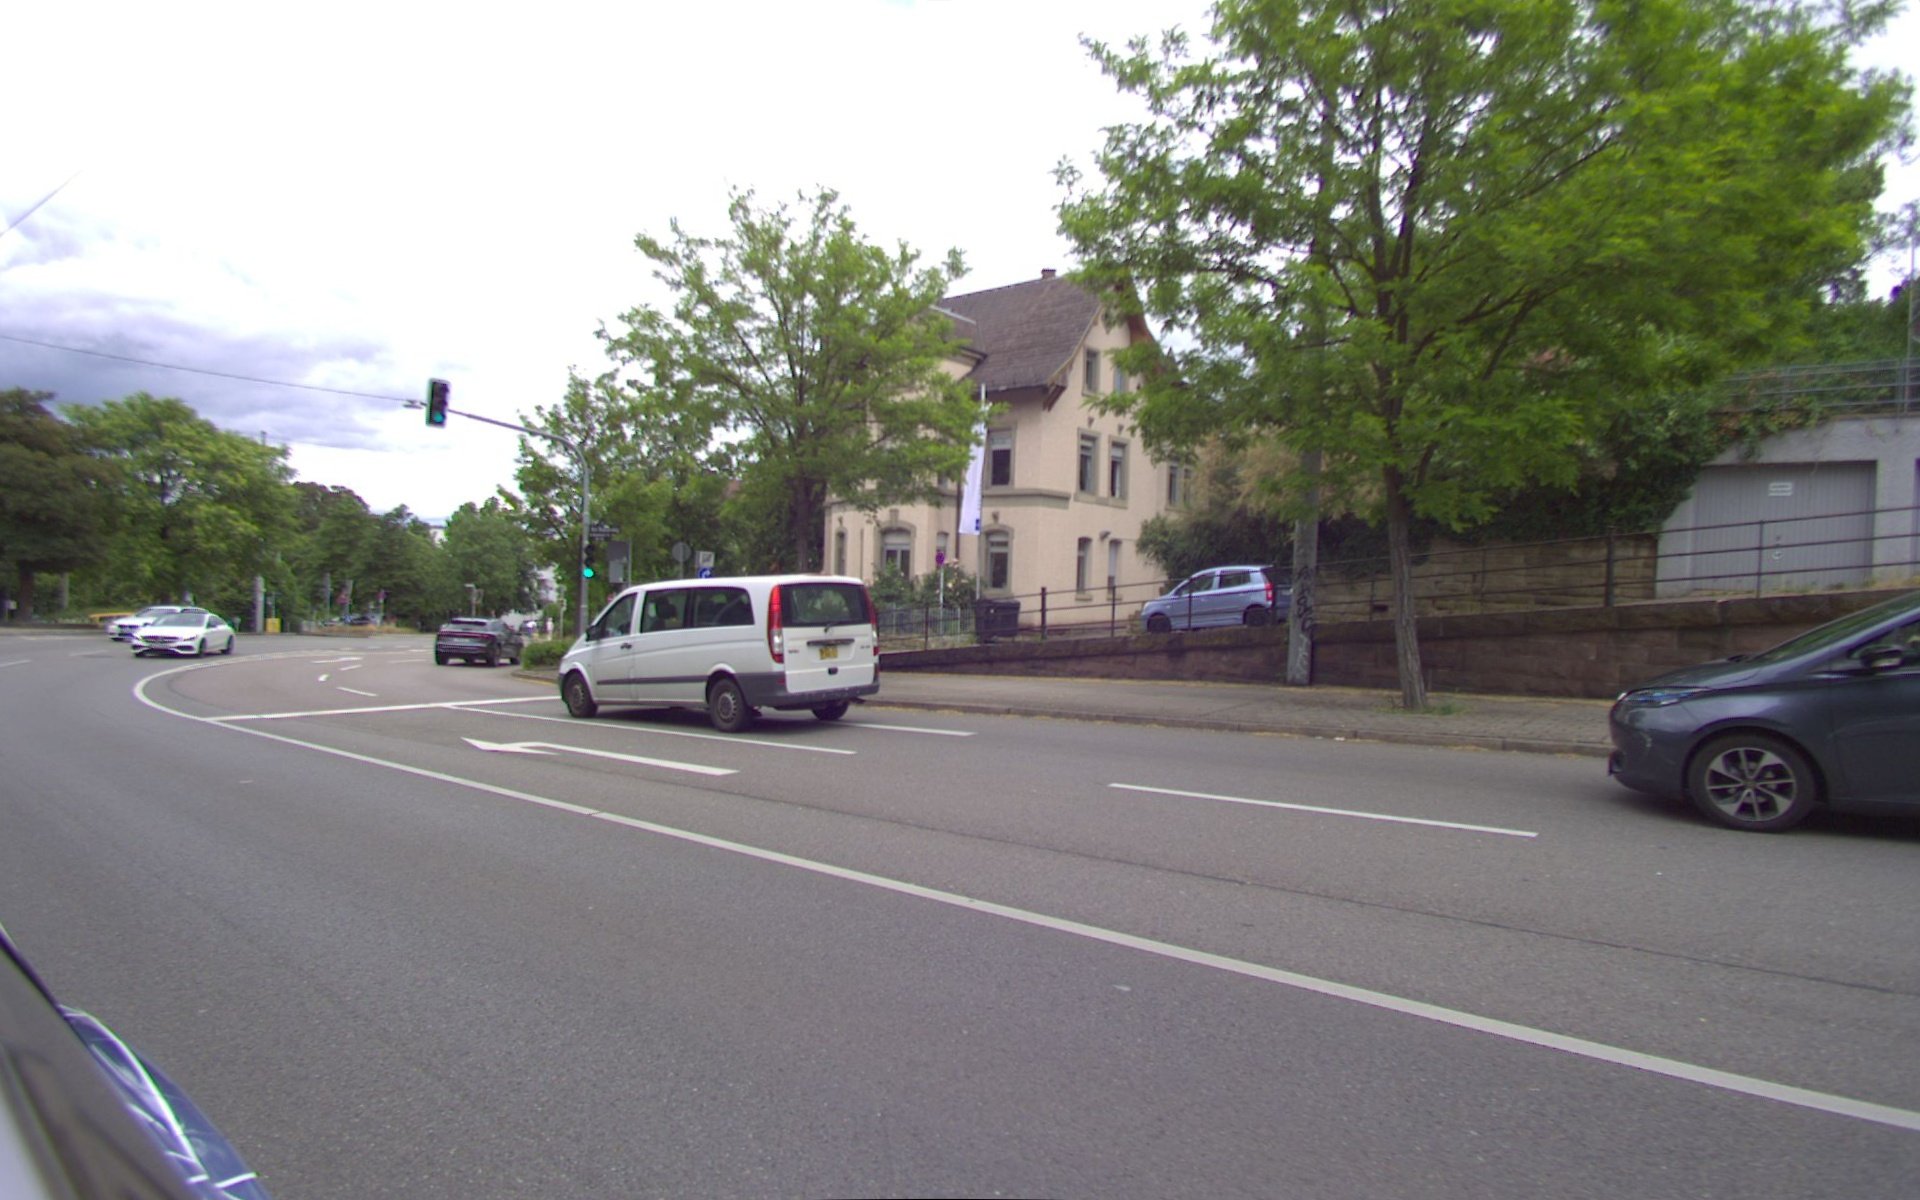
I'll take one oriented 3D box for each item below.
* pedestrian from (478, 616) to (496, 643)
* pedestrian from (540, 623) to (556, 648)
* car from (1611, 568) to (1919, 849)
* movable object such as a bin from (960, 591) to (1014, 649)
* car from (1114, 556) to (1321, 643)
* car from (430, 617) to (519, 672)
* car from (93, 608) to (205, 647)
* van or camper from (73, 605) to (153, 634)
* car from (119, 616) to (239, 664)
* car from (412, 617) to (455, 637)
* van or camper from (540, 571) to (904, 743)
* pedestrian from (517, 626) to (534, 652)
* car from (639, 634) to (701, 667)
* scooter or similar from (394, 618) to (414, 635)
[{"bbox_3d":[-34.398,2.161,73.648,0.844,1.901,0.966,4,-4,-42],"label":"pedestrian"},{"bbox_3d":[-29.741,2.583,73.029,0.615,1.725,0.719,4,-2,34],"label":"pedestrian"},{"bbox_3d":[6.305,0.562,5.880,3.988,1.532,1.973,-2,0,41],"label":"car"},{"bbox_3d":[0.828,0.604,31.267,1.199,1.696,0.999,-4,1,-34],"label":"movable object such as a bin"},{"bbox_3d":[5.738,0.016,22.887,1.971,1.586,4.002,-2,-3,-45],"label":"car"},{"bbox_3d":[-17.447,1.595,36.626,1.870,1.805,4.771,2,-3,-13],"label":"car"},{"bbox_3d":[-33.016,1.136,41.365,1.867,1.475,4.008,1,-2,-10],"label":"car"},{"bbox_3d":[-65.288,1.524,78.057,4.405,1.992,1.891,3,-1,-3],"label":"van or camper"},{"bbox_3d":[-25.359,1.273,33.050,1.965,1.409,4.244,3,-2,-22],"label":"car"},{"bbox_3d":[-56.194,2.915,108.043,1.973,1.918,4.712,2,-3,1],"label":"car"},{"bbox_3d":[-3.422,0.683,13.769,5.452,1.910,1.973,-1,-1,40],"label":"van or camper"},{"bbox_3d":[-30.726,2.751,71.557,0.615,1.725,0.719,4,-2,34],"label":"pedestrian"},{"bbox_3d":[-15.575,2.705,54.624,1.877,1.667,4.371,1,-3,3],"label":"car"},{"bbox_3d":[-44.484,2.127,80.936,1.299,1.257,0.465,4,-4,-38],"label":"scooter or similar"}]
